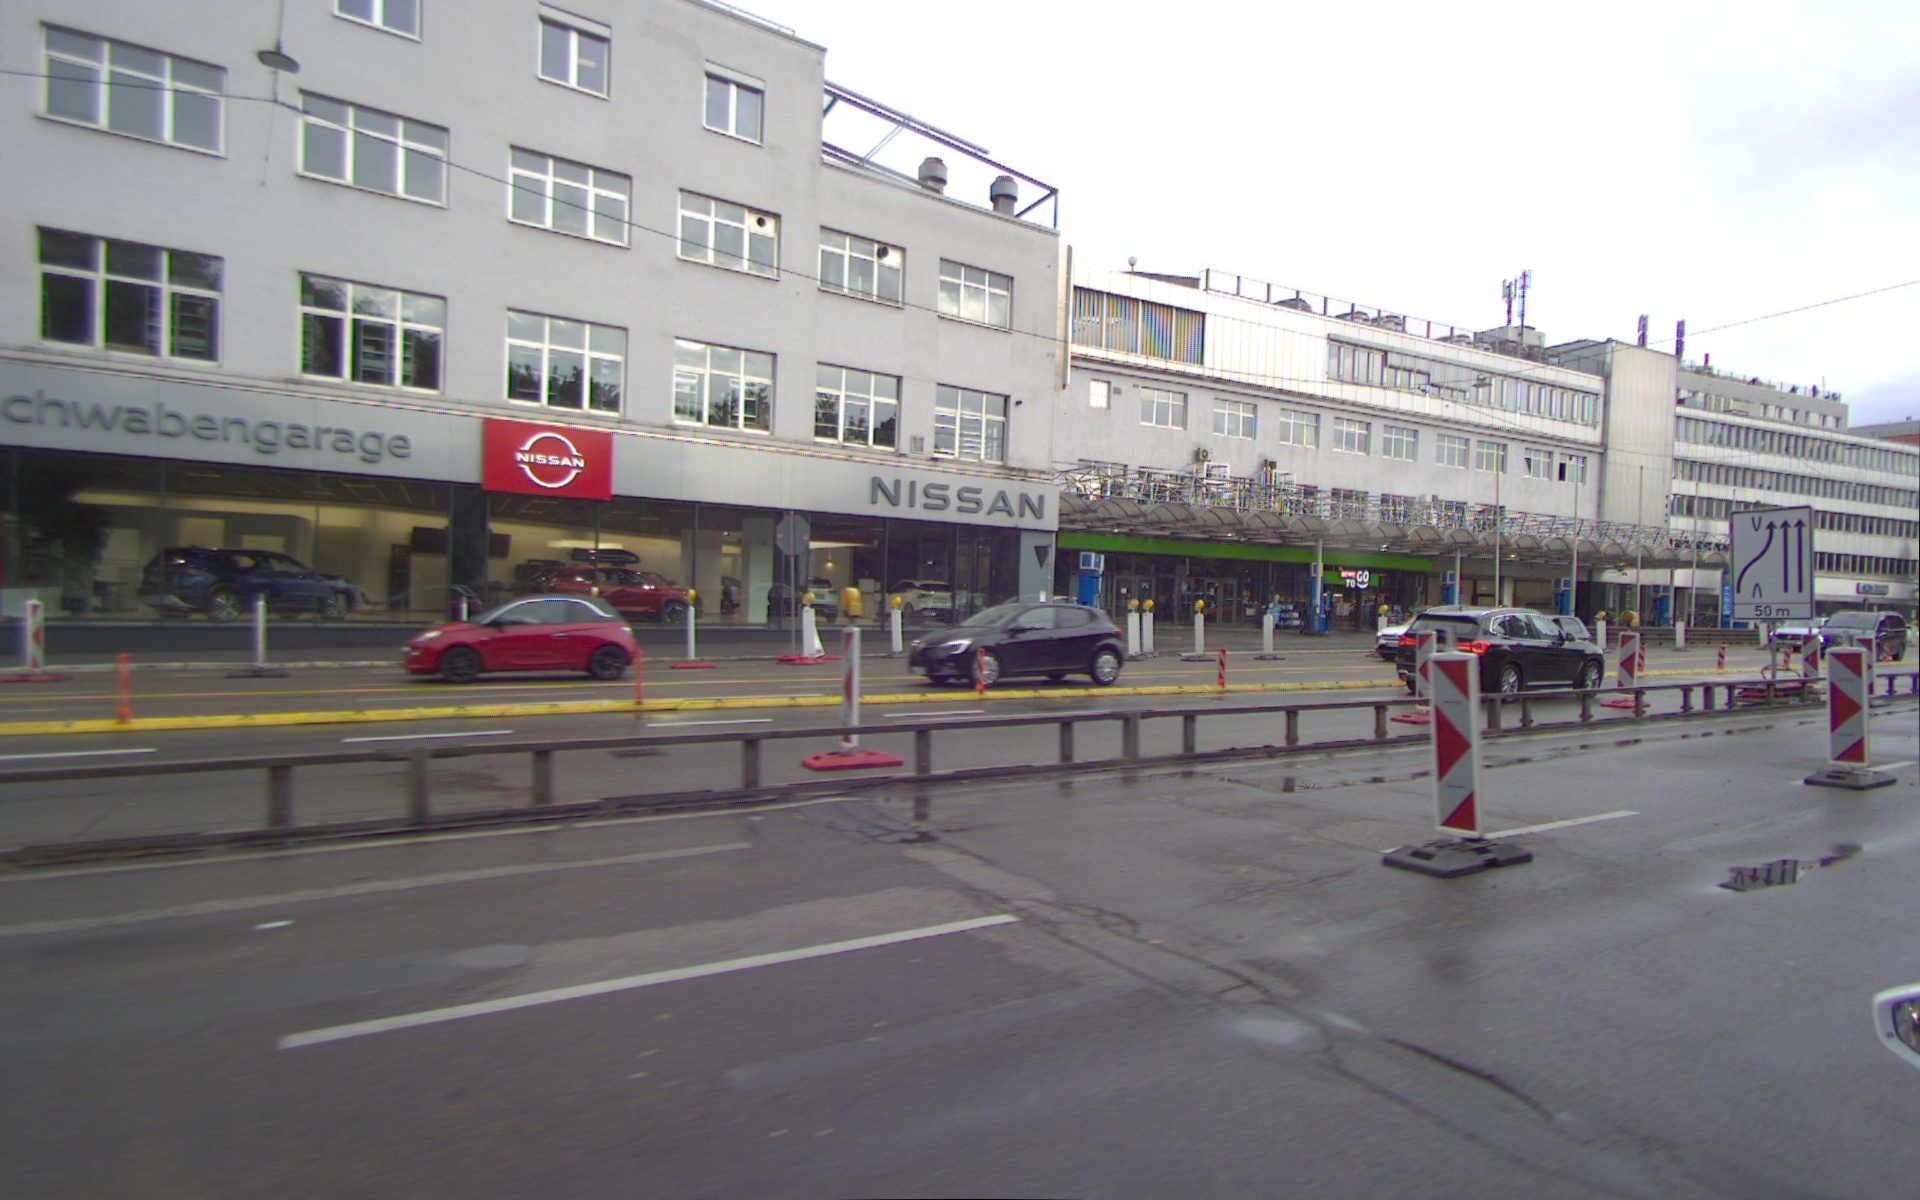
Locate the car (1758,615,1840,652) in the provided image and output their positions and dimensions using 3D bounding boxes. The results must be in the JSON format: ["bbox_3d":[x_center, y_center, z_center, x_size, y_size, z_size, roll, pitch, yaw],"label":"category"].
[{"bbox_3d":[38.761,1.526,46.404,4.219,1.606,1.737,2,0,-33],"label":"car"}]

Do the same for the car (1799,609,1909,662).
[{"bbox_3d":[35.133,1.377,39.455,5.176,1.962,1.982,2,-1,-34],"label":"car"}]

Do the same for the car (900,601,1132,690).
[{"bbox_3d":[1.017,0.773,17.818,3.761,1.405,1.789,2,0,-31],"label":"car"}]

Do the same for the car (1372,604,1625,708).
[{"bbox_3d":[10.120,0.954,18.816,4.613,1.619,1.938,0,4,-30],"label":"car"}]

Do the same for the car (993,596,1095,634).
[{"bbox_3d":[3.510,0.628,41.636,3.923,1.502,1.803,2,0,-32],"label":"car"}]

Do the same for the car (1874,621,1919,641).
[{"bbox_3d":[75.304,2.503,80.692,3.709,1.555,1.646,2,0,-28],"label":"car"}]

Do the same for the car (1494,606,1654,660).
[{"bbox_3d":[17.101,0.924,27.907,4.757,1.369,1.789,2,0,-31],"label":"car"}]

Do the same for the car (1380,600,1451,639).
[{"bbox_3d":[22.458,0.973,49.718,1.927,1.794,4.449,1,-1,7],"label":"car"}]

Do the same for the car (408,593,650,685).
[{"bbox_3d":[-7.402,0.656,17.317,3.664,1.433,1.726,2,0,-30],"label":"car"}]
